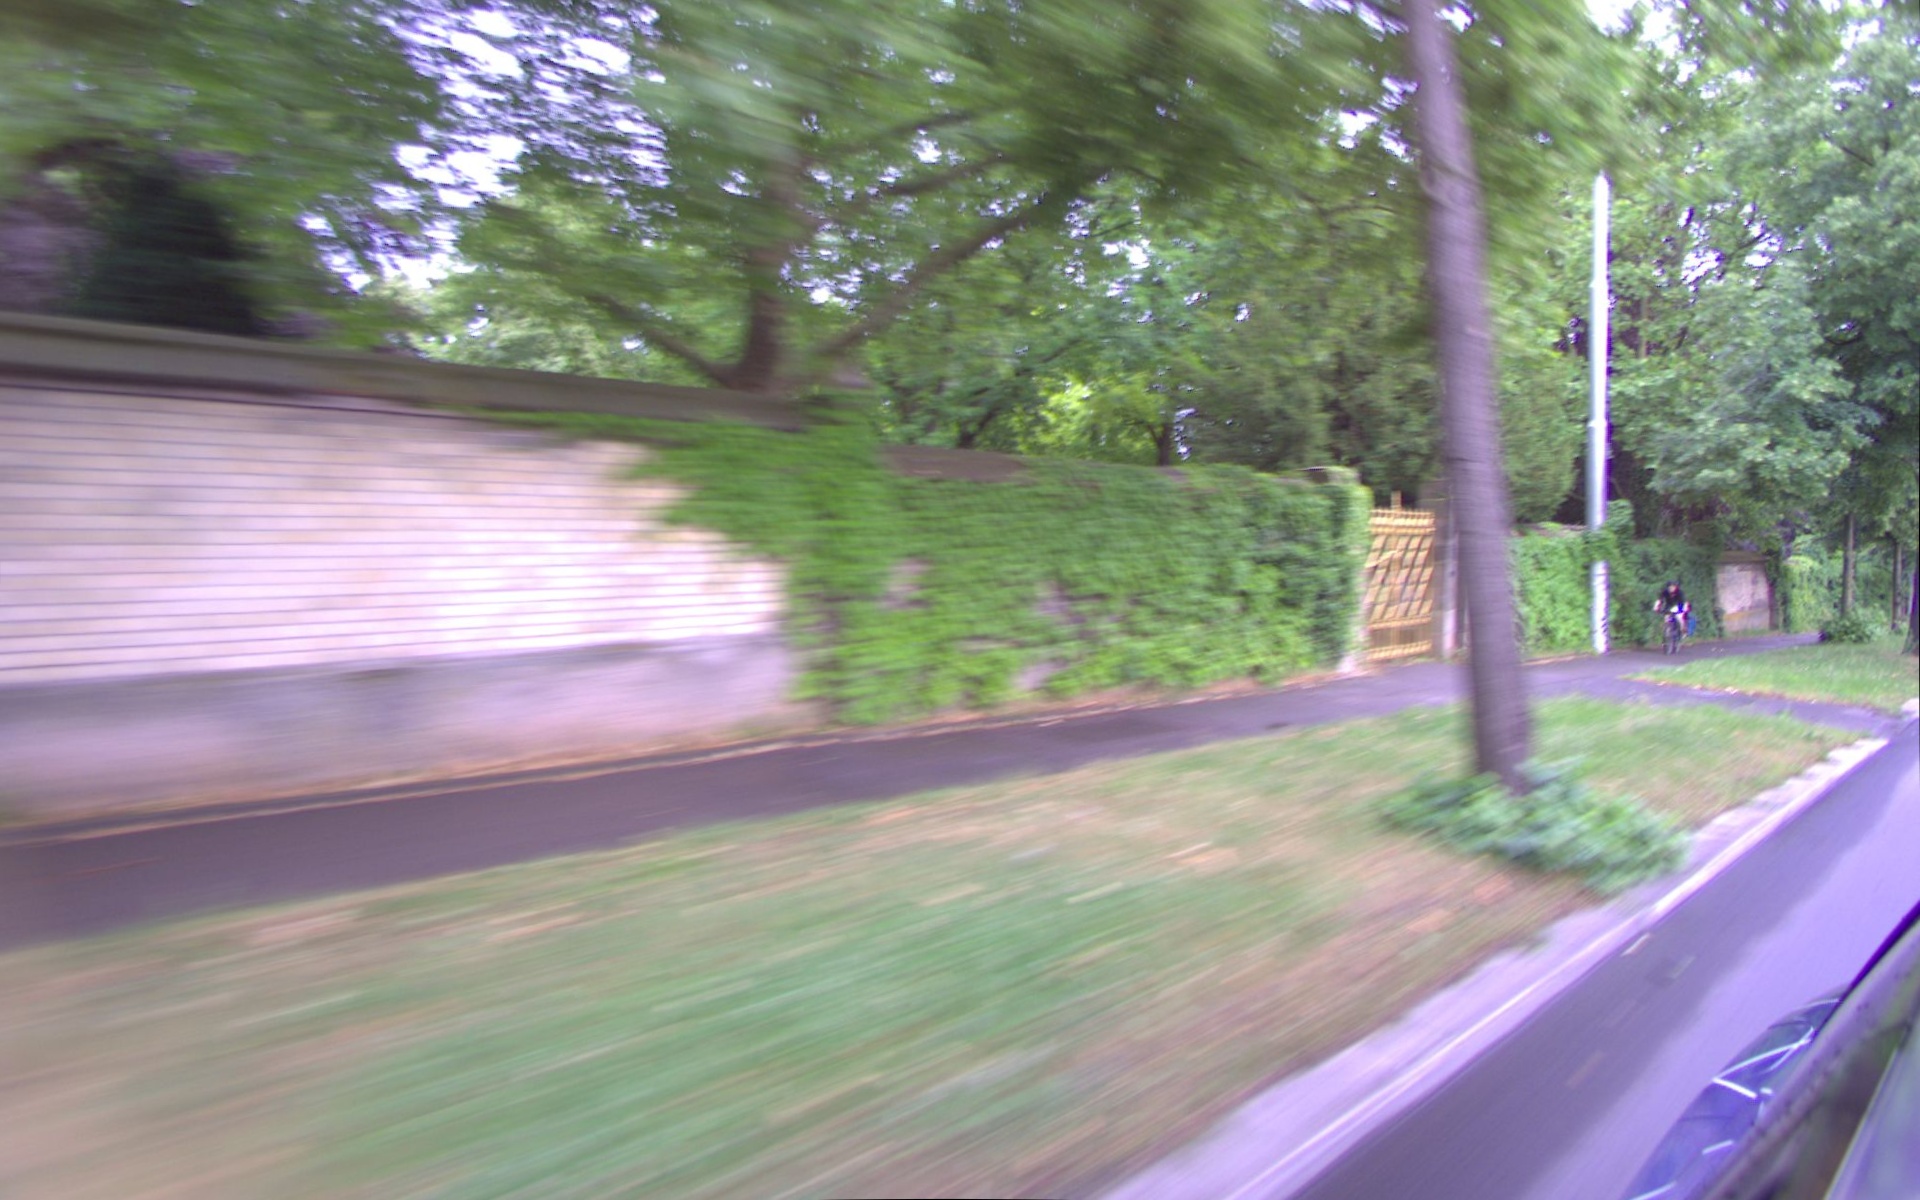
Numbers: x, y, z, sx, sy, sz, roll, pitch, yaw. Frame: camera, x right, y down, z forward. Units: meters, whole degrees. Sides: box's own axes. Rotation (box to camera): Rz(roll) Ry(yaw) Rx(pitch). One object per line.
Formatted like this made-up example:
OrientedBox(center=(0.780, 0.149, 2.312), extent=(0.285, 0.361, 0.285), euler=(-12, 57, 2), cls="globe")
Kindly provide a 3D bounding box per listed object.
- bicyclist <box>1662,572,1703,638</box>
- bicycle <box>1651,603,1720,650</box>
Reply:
OrientedBox(center=(15.851, 0.094, 22.209), extent=(0.654, 1.406, 0.536), euler=(0, 2, -38), cls="bicyclist")
OrientedBox(center=(16.098, 0.555, 22.432), extent=(2.503, 0.960, 0.544), euler=(0, 2, -38), cls="bicycle")
